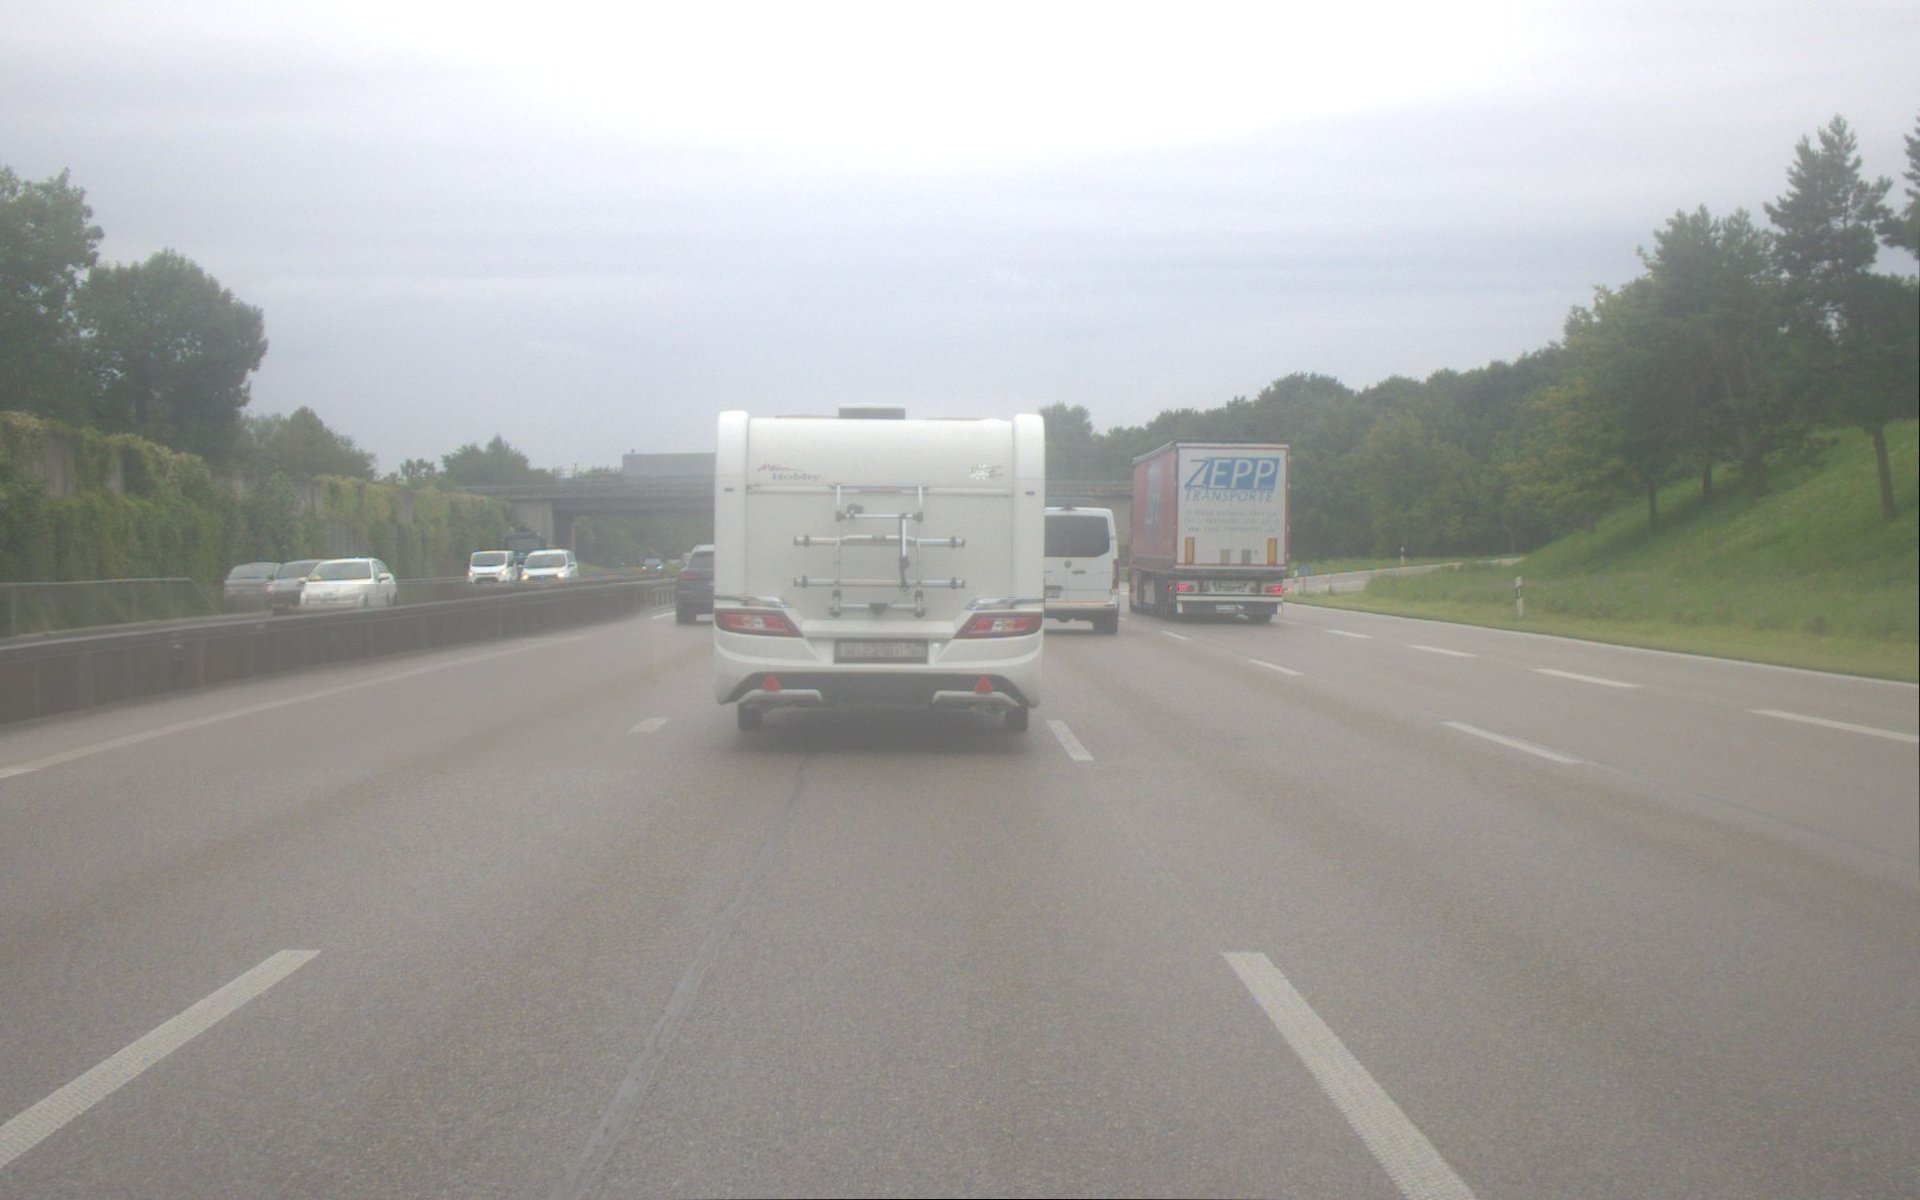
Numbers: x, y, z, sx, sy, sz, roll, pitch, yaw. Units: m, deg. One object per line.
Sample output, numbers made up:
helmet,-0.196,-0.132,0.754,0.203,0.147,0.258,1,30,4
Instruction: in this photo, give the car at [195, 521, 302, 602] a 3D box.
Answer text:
car,-18.173,-0.990,88.035,1.932,2.007,4.733,0,1,-2

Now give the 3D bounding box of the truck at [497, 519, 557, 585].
truck,-25.670,-2.830,204.160,2.691,3.764,8.338,1,1,-2

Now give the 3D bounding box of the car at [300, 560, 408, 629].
car,-13.714,-0.141,78.046,1.601,1.402,4.765,-4,1,-1

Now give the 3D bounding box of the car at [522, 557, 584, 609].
car,-14.306,-0.617,121.027,1.787,1.745,4.537,1,1,-2

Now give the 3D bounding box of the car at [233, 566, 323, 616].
car,-22.177,-0.308,111.890,1.956,1.547,4.521,1,1,1

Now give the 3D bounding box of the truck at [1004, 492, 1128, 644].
truck,1.982,-0.611,66.154,2.053,2.760,5.549,1,1,-1

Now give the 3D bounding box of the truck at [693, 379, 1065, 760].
truck,-0.641,-0.247,27.600,2.661,2.733,5.078,1,0,-1

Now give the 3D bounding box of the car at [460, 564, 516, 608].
car,-21.911,-0.668,159.839,1.993,2.007,4.957,1,1,-1

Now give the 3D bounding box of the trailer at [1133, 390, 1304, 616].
trailer,5.962,-2.176,81.090,3.100,4.905,11.790,1,1,0

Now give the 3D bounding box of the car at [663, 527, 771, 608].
car,-5.070,-0.684,72.366,1.993,1.594,5.124,1,1,-1

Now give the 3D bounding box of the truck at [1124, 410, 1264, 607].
truck,5.936,-2.293,88.180,3.048,4.823,5.850,1,0,0
